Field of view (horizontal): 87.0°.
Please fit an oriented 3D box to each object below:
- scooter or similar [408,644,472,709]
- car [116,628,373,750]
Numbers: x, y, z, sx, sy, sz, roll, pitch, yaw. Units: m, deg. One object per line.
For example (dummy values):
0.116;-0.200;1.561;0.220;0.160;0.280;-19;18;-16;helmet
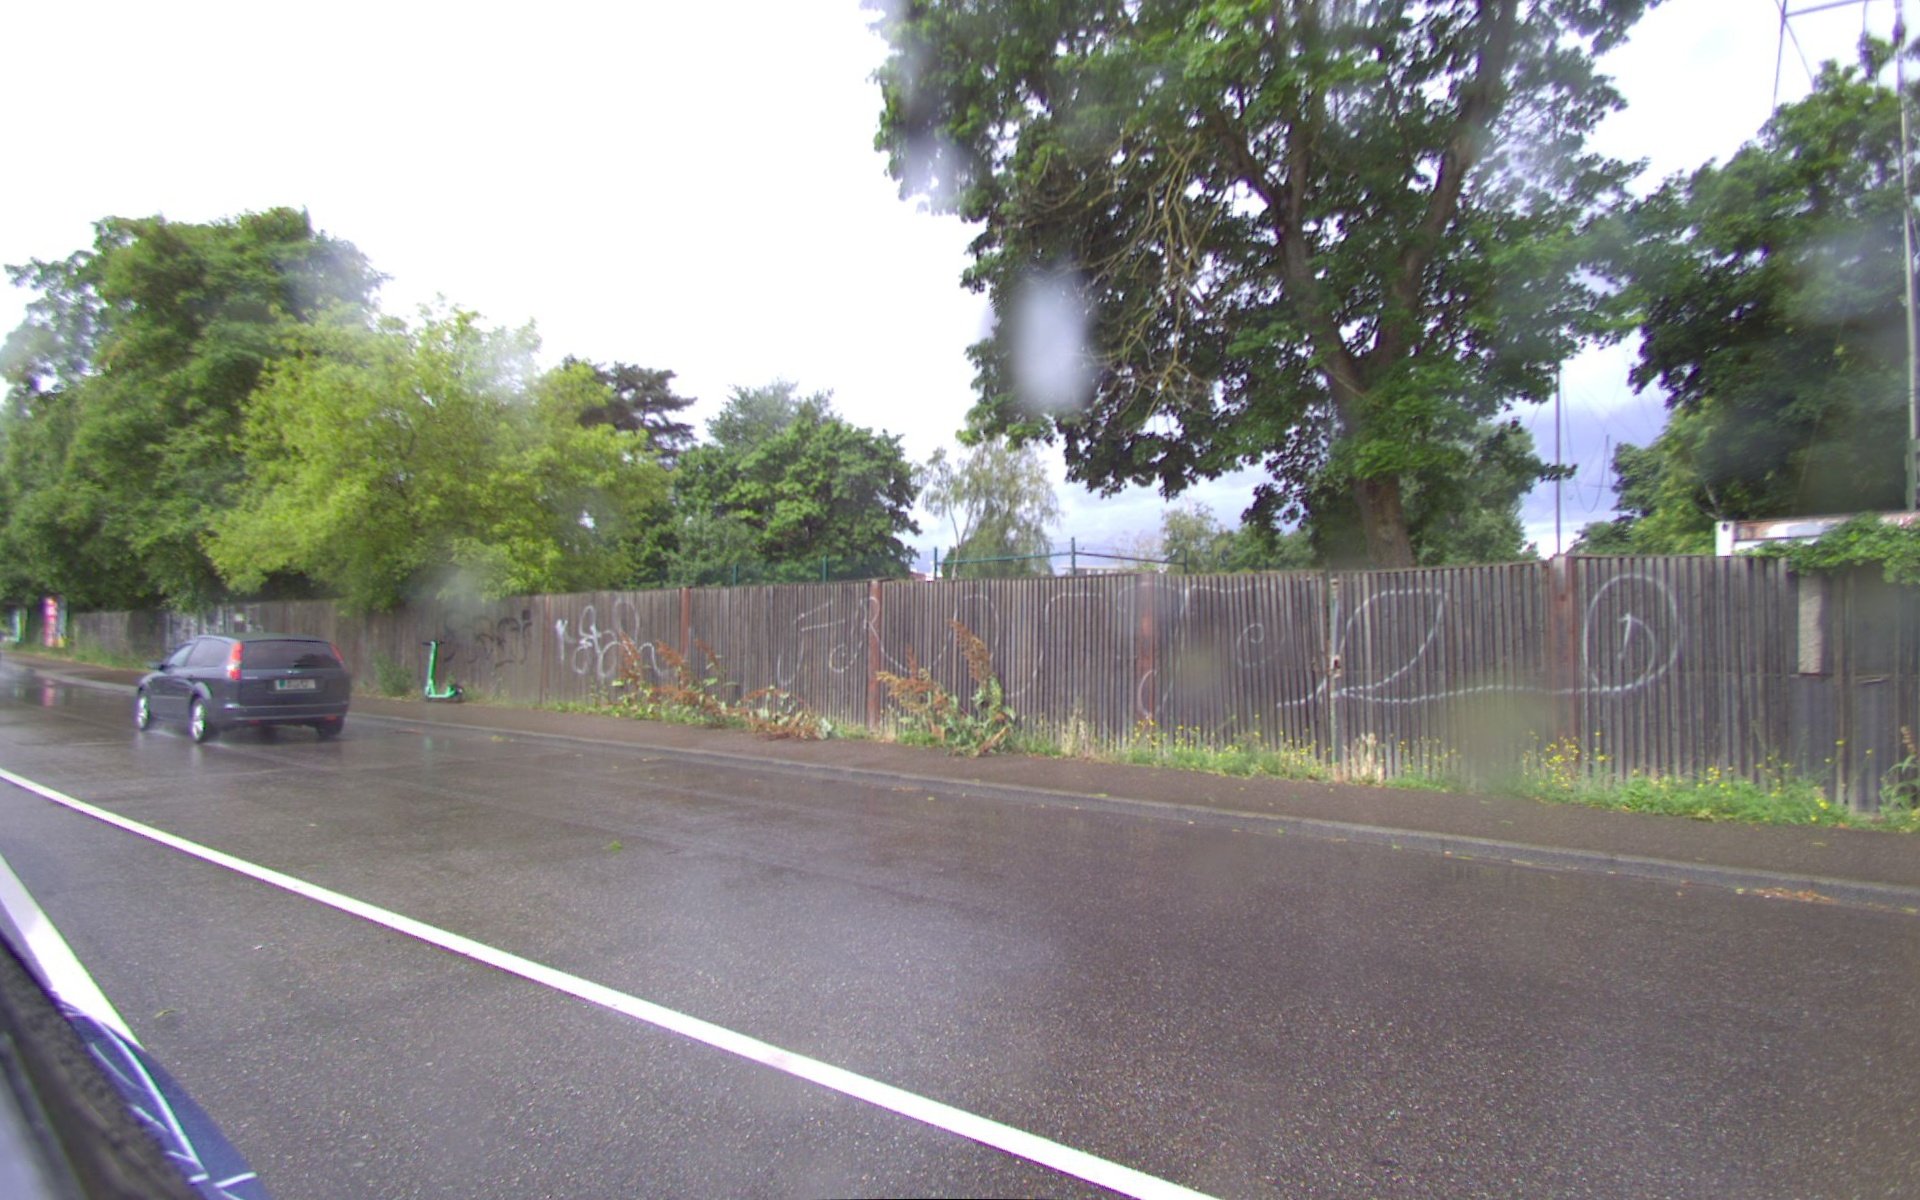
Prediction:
-9.843;1.433;19.154;1.205;1.171;0.557;-1;-2;34;scooter or similar
-10.544;1.186;14.823;4.170;1.494;1.857;0;-2;37;car
